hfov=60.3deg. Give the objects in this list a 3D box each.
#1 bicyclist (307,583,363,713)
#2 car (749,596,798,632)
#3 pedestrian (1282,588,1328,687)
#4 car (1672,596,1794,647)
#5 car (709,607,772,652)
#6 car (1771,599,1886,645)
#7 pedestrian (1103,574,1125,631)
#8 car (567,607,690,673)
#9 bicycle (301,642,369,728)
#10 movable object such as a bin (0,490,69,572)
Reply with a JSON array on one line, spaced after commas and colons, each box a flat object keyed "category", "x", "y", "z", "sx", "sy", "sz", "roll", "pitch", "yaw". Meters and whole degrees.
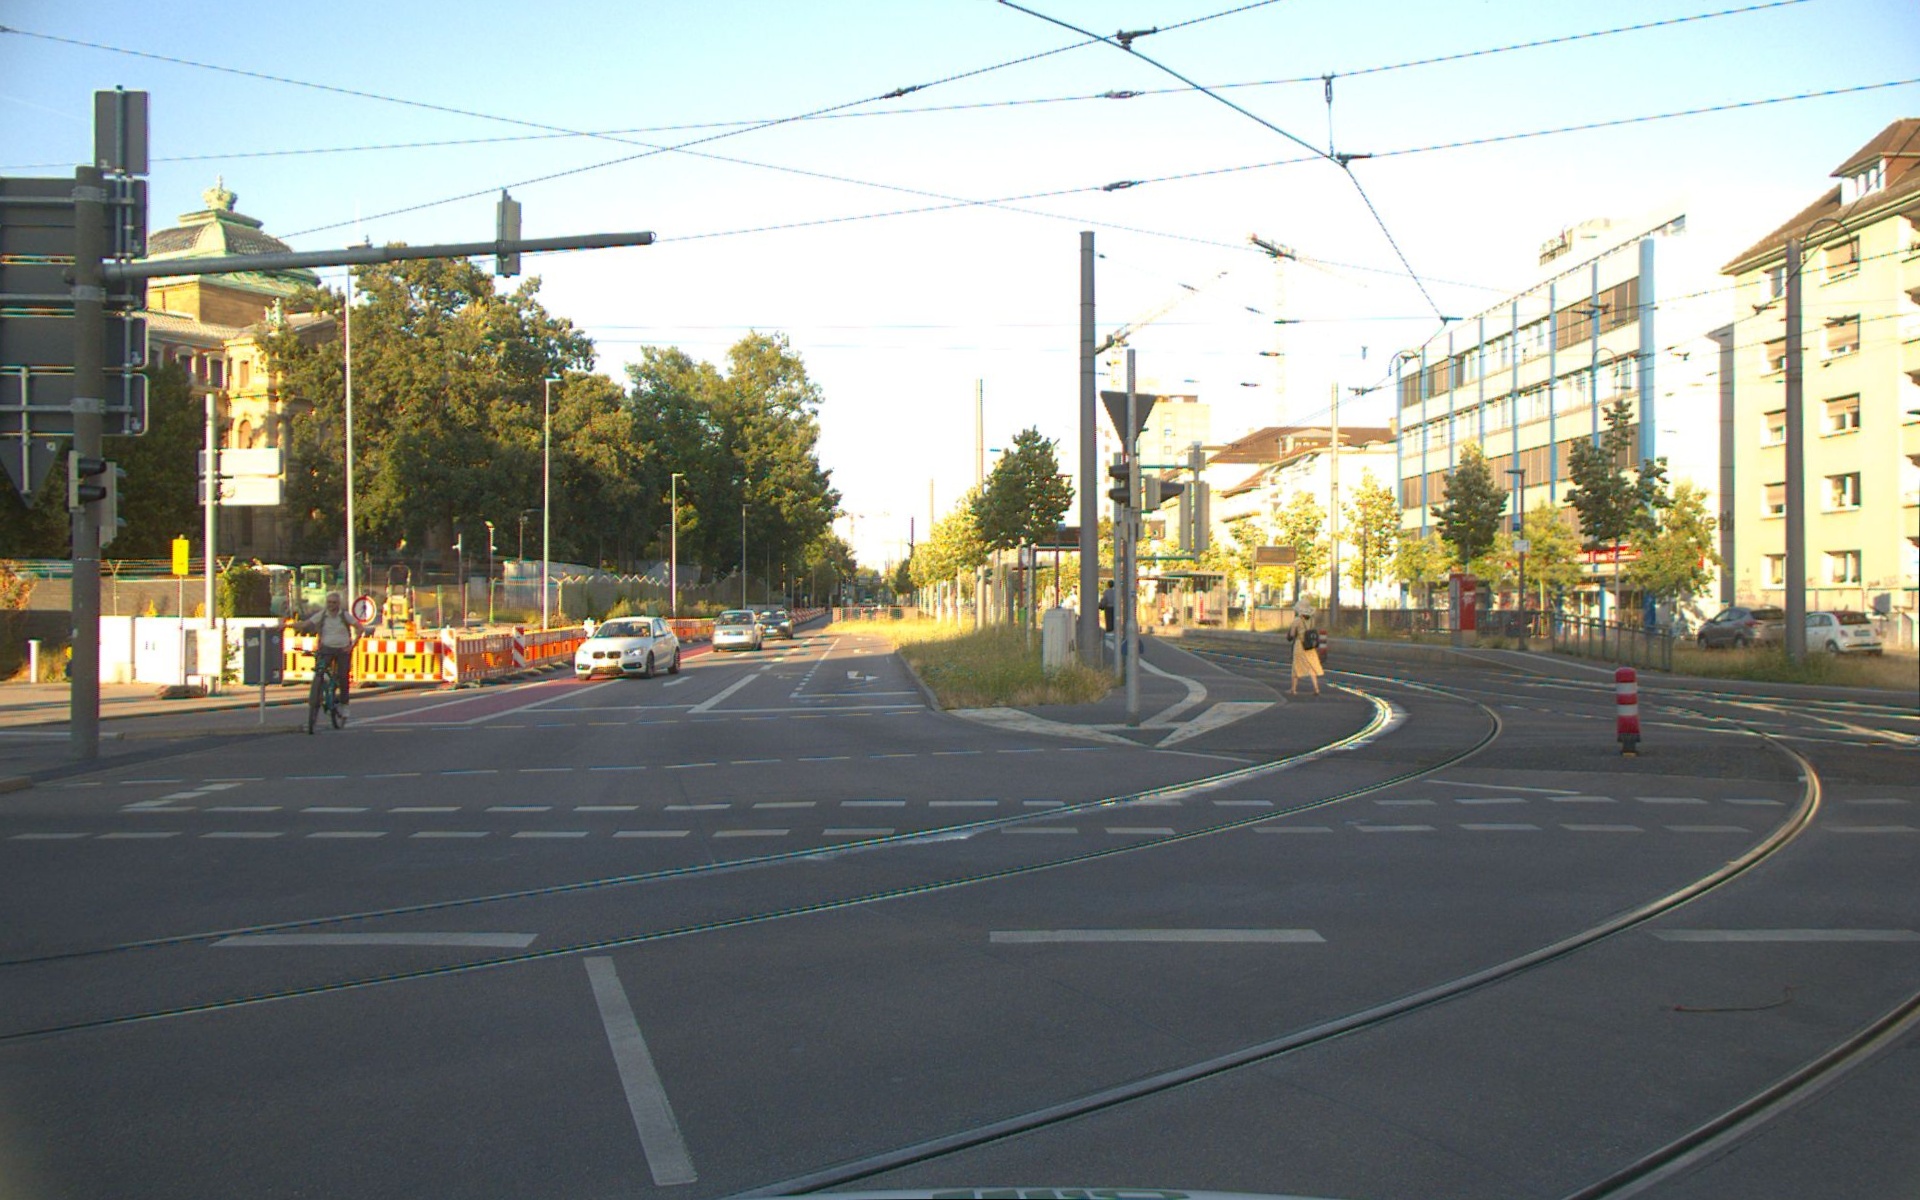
[{"category": "bicyclist", "x": -8.362, "y": 0.630, "z": 22.146, "sx": 0.584, "sy": 1.700, "sz": 0.746, "roll": 0, "pitch": 0, "yaw": -13}, {"category": "car", "x": -9.146, "y": 0.674, "z": 81.516, "sx": 1.898, "sy": 1.645, "sz": 4.392, "roll": -1, "pitch": 0, "yaw": 0}, {"category": "pedestrian", "x": 5.536, "y": 0.596, "z": 26.560, "sx": 0.690, "sy": 1.568, "sz": 0.637, "roll": -1, "pitch": 0, "yaw": 13}, {"category": "car", "x": 27.520, "y": 0.734, "z": 59.033, "sx": 2.071, "sy": 1.734, "sz": 4.345, "roll": 0, "pitch": 1, "yaw": -5}, {"category": "car", "x": -8.230, "y": 1.094, "z": 62.198, "sx": 1.640, "sy": 1.588, "sz": 3.728, "roll": -2, "pitch": -1, "yaw": 3}, {"category": "car", "x": 28.305, "y": 0.687, "z": 54.034, "sx": 1.700, "sy": 1.445, "sz": 3.540, "roll": 0, "pitch": 0, "yaw": -5}, {"category": "pedestrian", "x": 4.425, "y": 0.084, "z": 47.470, "sx": 0.552, "sy": 1.618, "sz": 0.690, "roll": 0, "pitch": 0, "yaw": 0}, {"category": "car", "x": -7.976, "y": 0.937, "z": 40.206, "sx": 1.870, "sy": 1.430, "sz": 4.306, "roll": -1, "pitch": 0, "yaw": 3}, {"category": "bicycle", "x": -8.360, "y": 1.114, "z": 22.182, "sx": 0.584, "sy": 1.041, "sz": 1.841, "roll": 0, "pitch": 1, "yaw": -12}, {"category": "movable object such as a bin", "x": -26.313, "y": -1.789, "z": 44.237, "sx": 4.911, "sy": 2.049, "sz": 1.998, "roll": 0, "pitch": 1, "yaw": 28}]
